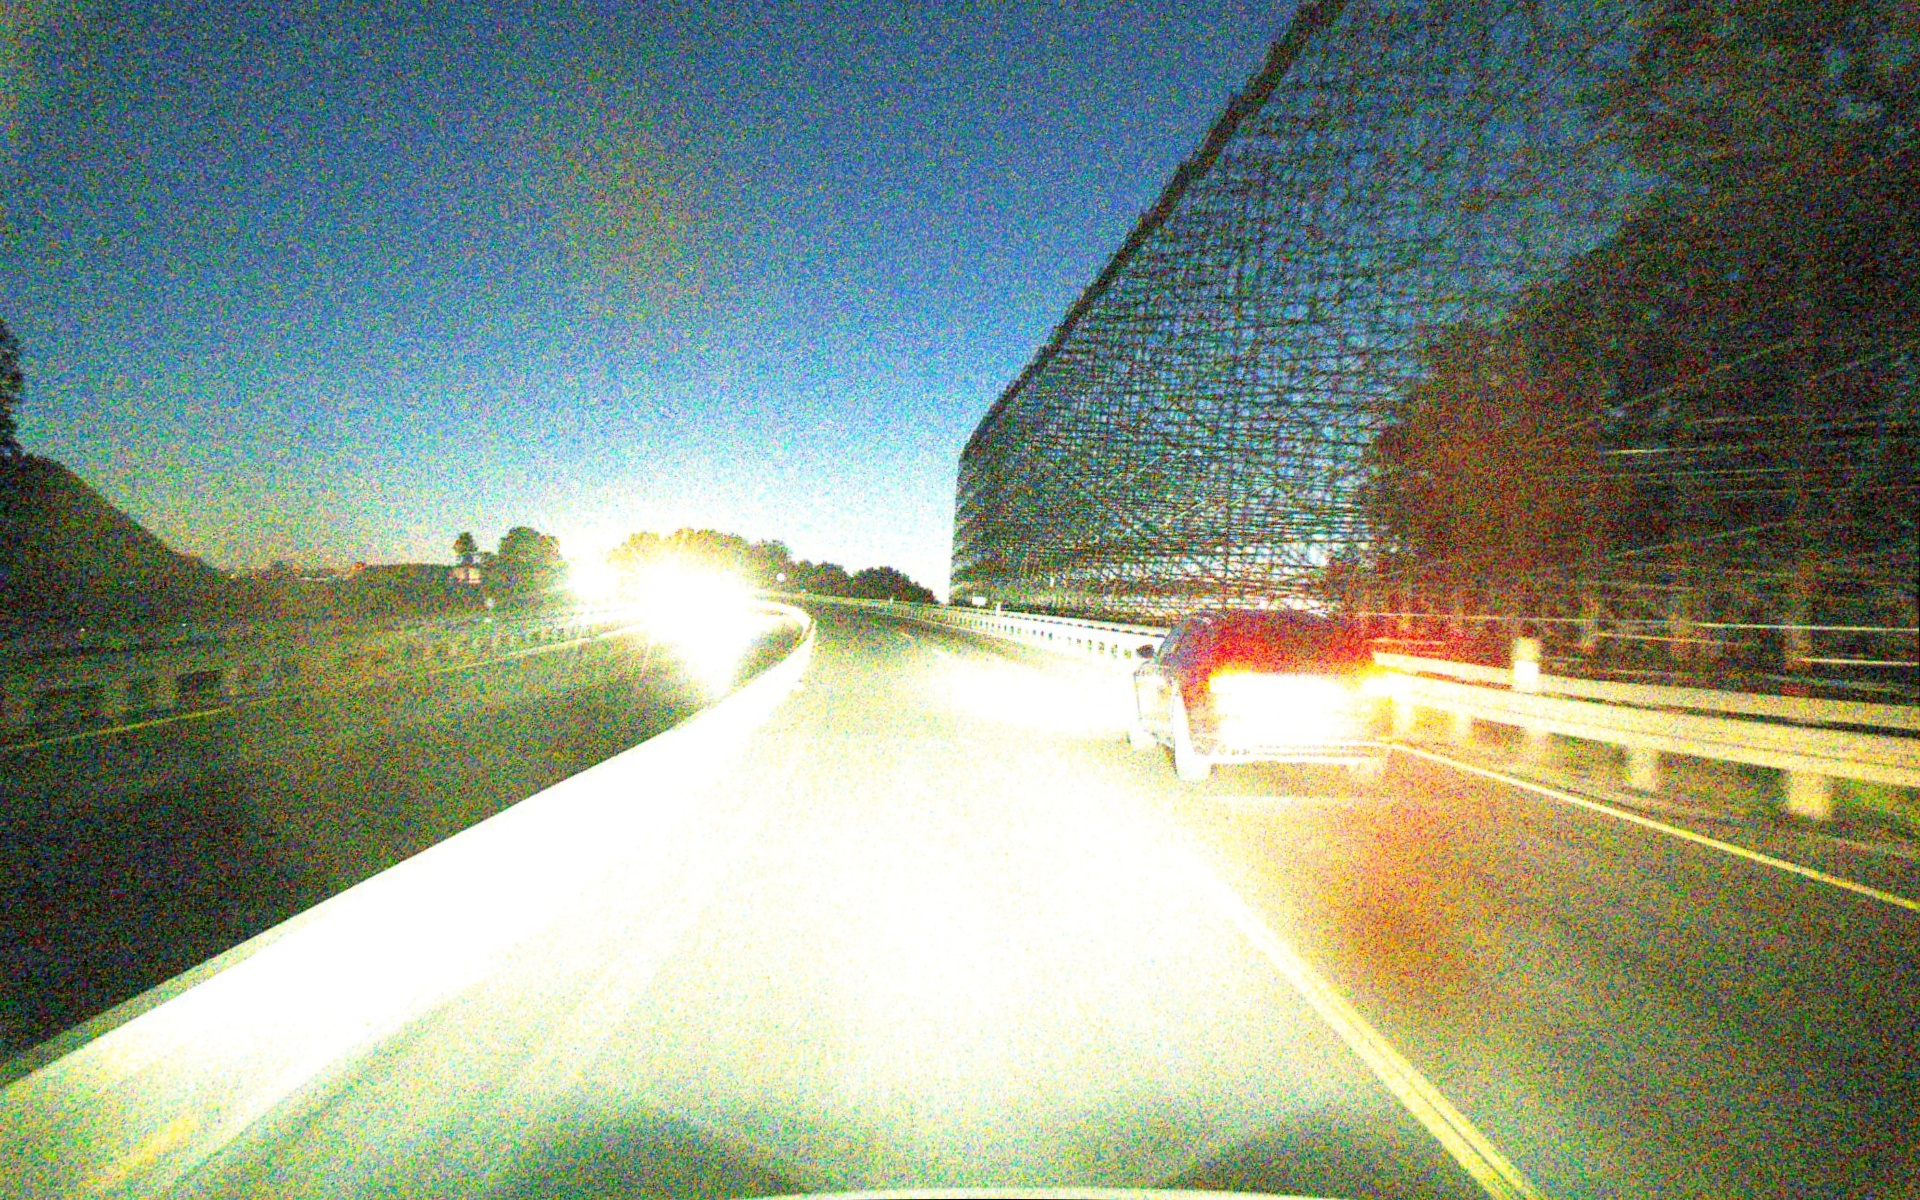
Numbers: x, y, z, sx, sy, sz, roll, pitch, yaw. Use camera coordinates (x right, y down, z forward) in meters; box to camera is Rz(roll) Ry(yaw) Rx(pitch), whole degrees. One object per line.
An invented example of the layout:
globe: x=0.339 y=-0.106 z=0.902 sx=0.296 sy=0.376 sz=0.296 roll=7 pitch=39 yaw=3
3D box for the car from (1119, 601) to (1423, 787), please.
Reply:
car: x=2.689 y=0.743 z=15.467 sx=1.771 sy=1.451 sz=4.873 roll=0 pitch=0 yaw=-2

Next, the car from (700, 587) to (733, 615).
car: x=-15.114 y=0.088 z=102.457 sx=1.976 sy=1.668 sz=4.852 roll=0 pitch=-1 yaw=-9
